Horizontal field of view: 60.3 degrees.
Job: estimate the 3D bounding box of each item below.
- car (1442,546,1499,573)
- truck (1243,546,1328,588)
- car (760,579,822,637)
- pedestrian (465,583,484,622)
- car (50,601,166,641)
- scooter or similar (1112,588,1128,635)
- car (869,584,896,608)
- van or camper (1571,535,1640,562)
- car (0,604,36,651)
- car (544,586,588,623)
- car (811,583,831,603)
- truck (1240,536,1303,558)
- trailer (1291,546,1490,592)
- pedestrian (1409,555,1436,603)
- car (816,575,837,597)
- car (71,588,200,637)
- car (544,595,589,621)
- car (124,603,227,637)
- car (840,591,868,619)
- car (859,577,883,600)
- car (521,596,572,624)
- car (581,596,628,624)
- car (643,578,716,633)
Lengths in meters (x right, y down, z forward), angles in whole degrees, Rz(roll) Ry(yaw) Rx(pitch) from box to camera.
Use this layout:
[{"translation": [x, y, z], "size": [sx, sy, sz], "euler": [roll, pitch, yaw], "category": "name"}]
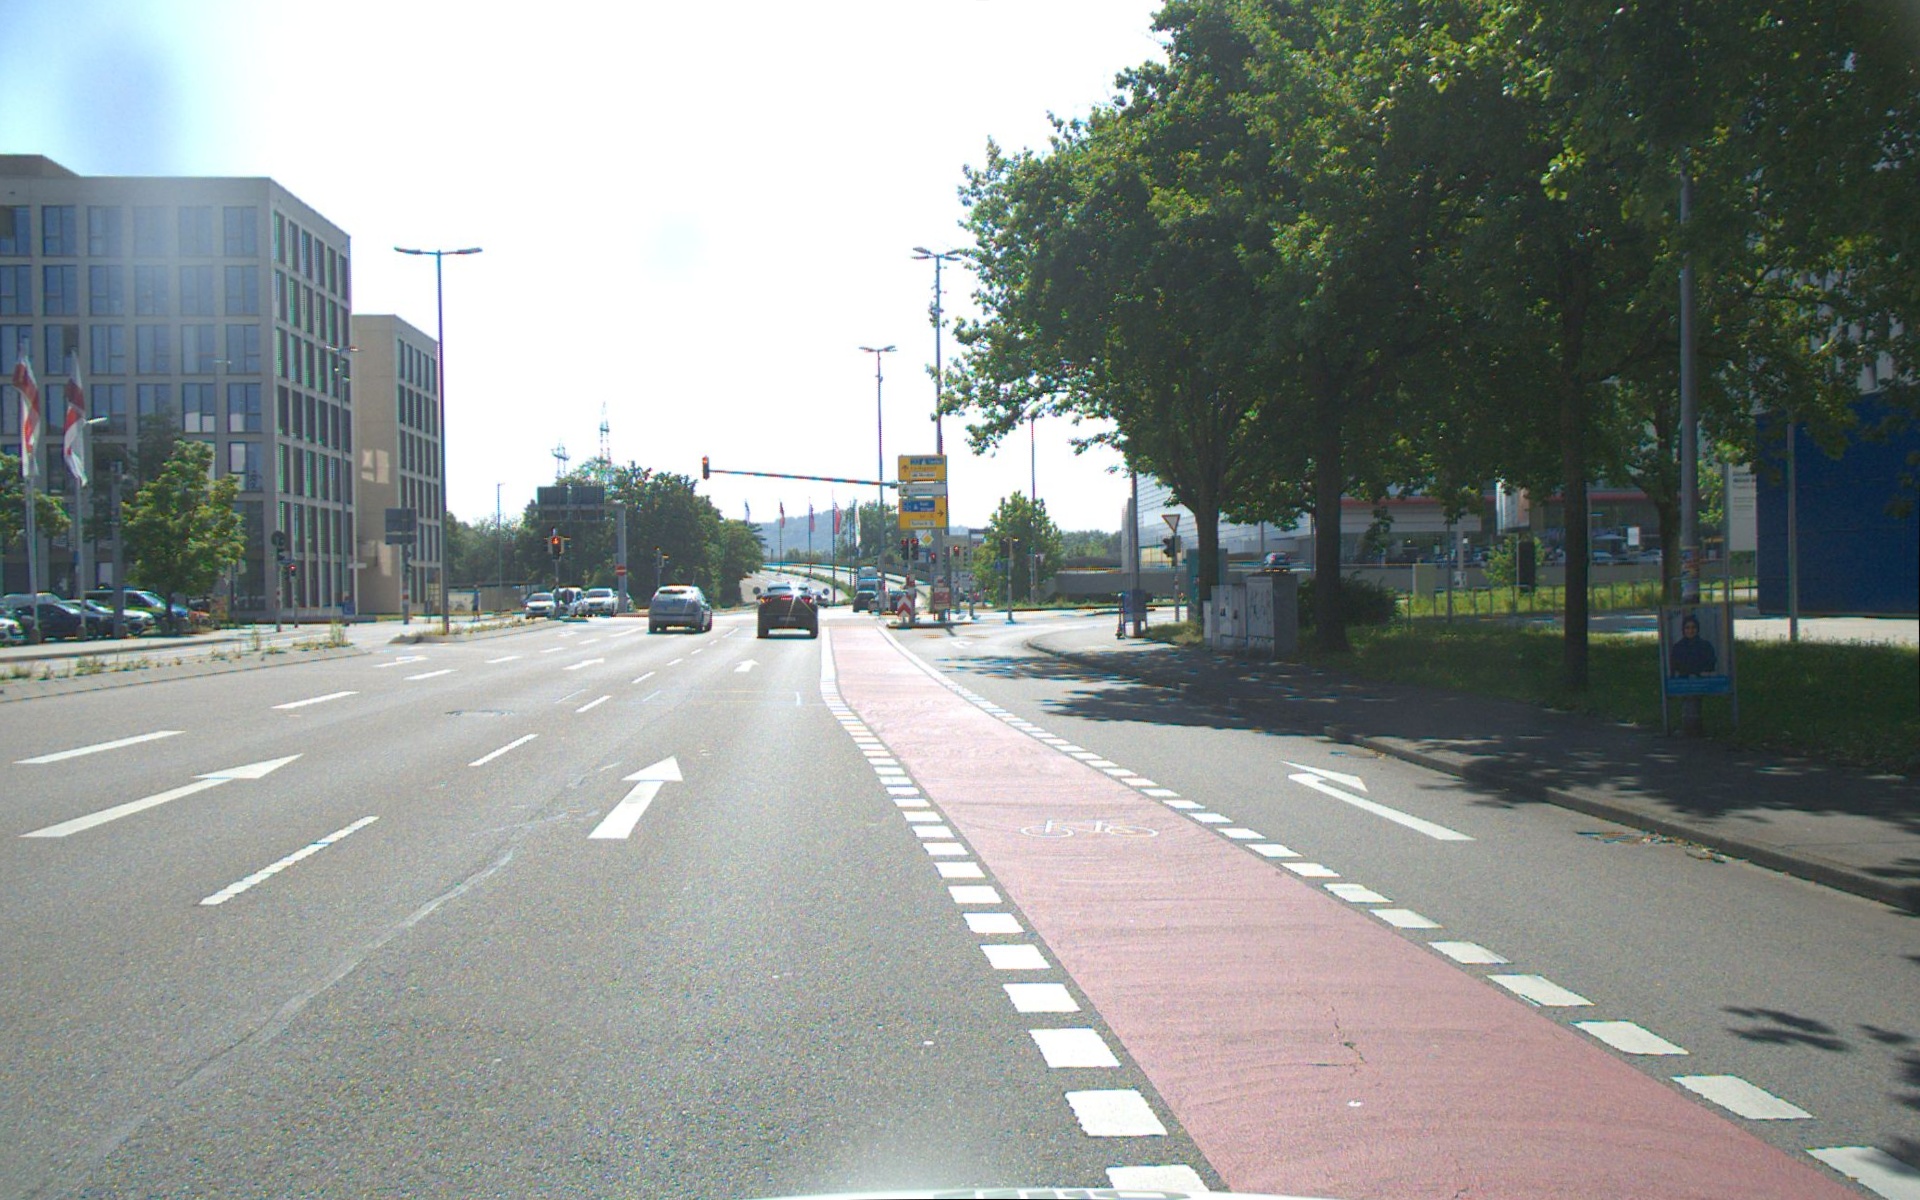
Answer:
[{"translation": [41.450, -3.305, 134.406], "size": [3.910, 2.048, 1.998], "euler": [1, 1, -6], "category": "car"}, {"translation": [19.954, -2.040, 101.515], "size": [4.780, 2.466, 2.000], "euler": [1, 1, 0], "category": "truck"}, {"translation": [-5.214, 0.209, 51.498], "size": [1.772, 1.668, 4.455], "euler": [-1, 1, -5], "category": "car"}, {"translation": [-25.558, 0.127, 87.129], "size": [0.748, 2.048, 0.925], "euler": [0, 1, -29], "category": "pedestrian"}, {"translation": [-31.166, 0.754, 60.536], "size": [3.343, 1.366, 1.644], "euler": [-1, 0, -2], "category": "car"}, {"translation": [4.440, 0.314, 45.932], "size": [0.343, 1.255, 1.312], "euler": [-1, 0, 9], "category": "scooter or similar"}, {"translation": [-4.933, -0.245, 105.753], "size": [1.655, 1.382, 3.999], "euler": [1, 2, -3], "category": "car"}, {"translation": [52.461, -4.203, 134.474], "size": [4.887, 2.048, 1.998], "euler": [1, 1, -6], "category": "van or camper"}, {"translation": [-30.312, 0.863, 49.729], "size": [3.910, 1.366, 1.998], "euler": [-1, 0, -6], "category": "car"}, {"translation": [-15.506, 0.177, 65.189], "size": [1.191, 1.354, 2.798], "euler": [1, 2, -3], "category": "car"}, {"translation": [-13.133, -0.630, 156.129], "size": [1.726, 1.825, 3.343], "euler": [-1, 0, -6], "category": "car"}, {"translation": [30.845, -5.226, 163.921], "size": [5.791, 2.048, 1.999], "euler": [1, 1, -2], "category": "truck"}, {"translation": [26.360, -1.894, 101.448], "size": [11.626, 2.512, 2.001], "euler": [1, 1, 1], "category": "trailer"}, {"translation": [17.443, -0.792, 62.366], "size": [0.617, 1.801, 0.802], "euler": [-1, 0, -15], "category": "pedestrian"}, {"translation": [-13.293, -1.414, 164.534], "size": [1.954, 2.048, 3.978], "euler": [1, 2, -4], "category": "car"}, {"translation": [-37.516, 0.558, 75.321], "size": [4.816, 2.086, 1.999], "euler": [-1, 0, -3], "category": "car"}, {"translation": [-24.158, 0.495, 101.695], "size": [1.778, 1.489, 4.000], "euler": [-2, 0, 0], "category": "car"}, {"translation": [-37.279, 0.954, 78.684], "size": [3.907, 1.489, 1.999], "euler": [-1, 0, -3], "category": "car"}, {"translation": [-7.370, 0.326, 115.006], "size": [1.724, 1.789, 3.598], "euler": [1, 2, -7], "category": "car"}, {"translation": [-8.575, -1.146, 159.346], "size": [1.952, 2.048, 4.001], "euler": [1, 2, 1], "category": "car"}, {"translation": [-23.573, 0.533, 94.367], "size": [1.853, 1.489, 4.000], "euler": [-2, 0, 0], "category": "car"}, {"translation": [-20.557, 0.555, 95.724], "size": [1.778, 1.489, 4.000], "euler": [-2, 0, 0], "category": "car"}, {"translation": [-9.282, 0.169, 54.981], "size": [1.954, 1.713, 3.997], "euler": [-1, 0, -4], "category": "car"}]
